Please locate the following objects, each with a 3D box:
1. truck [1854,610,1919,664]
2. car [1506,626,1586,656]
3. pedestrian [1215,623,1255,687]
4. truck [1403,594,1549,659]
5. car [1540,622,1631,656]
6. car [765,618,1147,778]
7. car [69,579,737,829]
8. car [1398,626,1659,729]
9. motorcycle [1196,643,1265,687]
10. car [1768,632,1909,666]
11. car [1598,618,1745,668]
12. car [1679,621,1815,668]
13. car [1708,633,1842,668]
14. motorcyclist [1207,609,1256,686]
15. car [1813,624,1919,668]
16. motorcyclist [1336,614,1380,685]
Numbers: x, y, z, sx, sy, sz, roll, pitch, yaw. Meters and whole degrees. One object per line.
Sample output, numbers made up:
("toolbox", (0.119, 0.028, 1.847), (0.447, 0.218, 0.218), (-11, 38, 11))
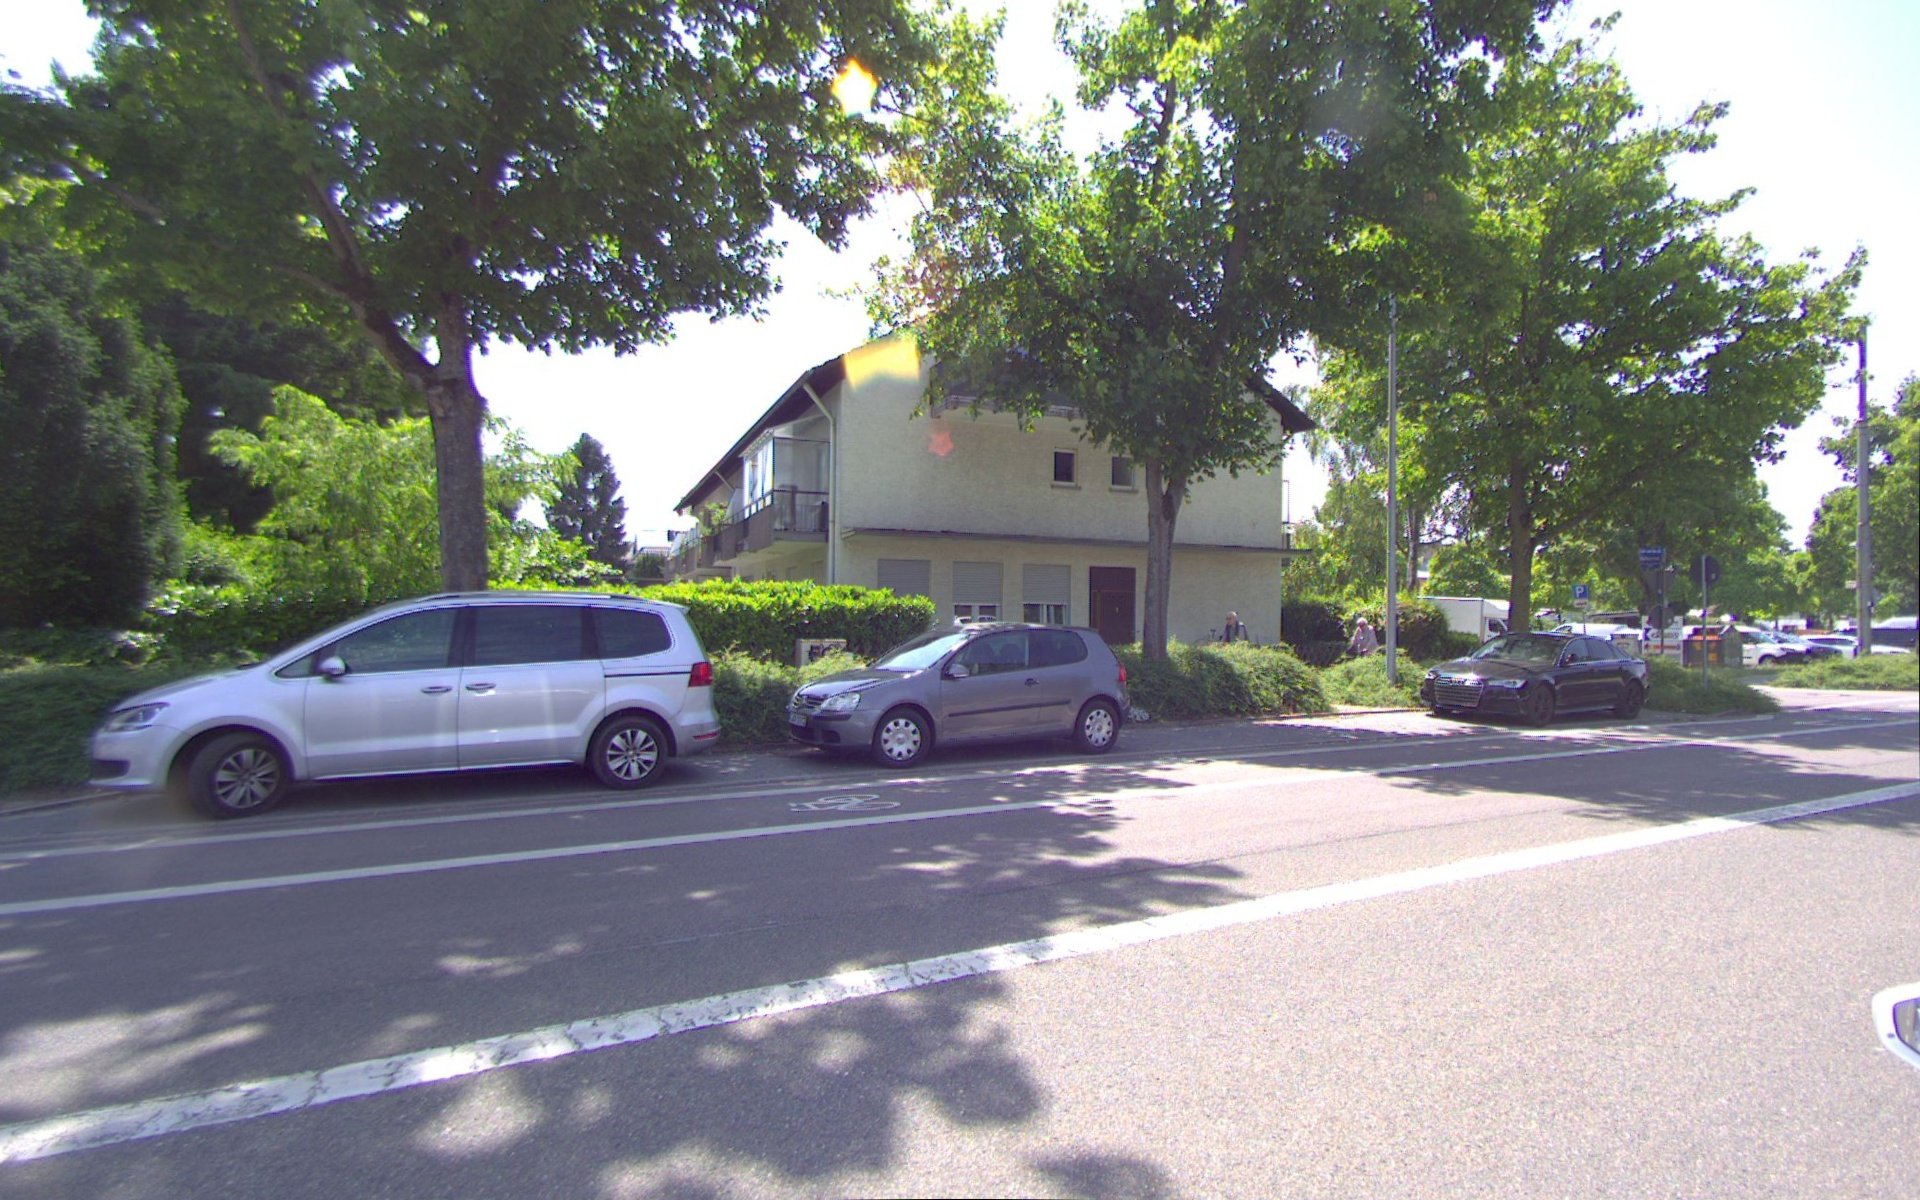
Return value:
("truck", (51.329, 1.958, 53.169), (2.402, 2.796, 5.556), (1, -1, -28))
("car", (34.170, 2.377, 58.647), (1.712, 1.597, 3.729), (1, -1, -30))
("pedestrian", (6.742, 1.329, 24.624), (0.599, 1.530, 0.792), (1, -1, -23))
("truck", (27.830, 1.363, 54.512), (2.126, 3.270, 6.942), (1, -1, -31))
("car", (36.714, 2.262, 59.038), (1.948, 1.844, 4.108), (2, -1, -30))
("car", (0.011, 0.999, 11.475), (4.080, 1.506, 1.668), (1, 0, -31))
("car", (-4.527, 0.752, 8.878), (4.630, 1.711, 1.962), (1, 0, -29))
("car", (9.779, 1.234, 17.176), (4.757, 1.476, 1.883), (1, 0, -33))
("motorcycle", (5.536, 1.309, 20.547), (1.354, 0.837, 0.523), (1, 2, -29))
("car", (42.117, 2.317, 48.288), (2.034, 1.508, 4.738), (1, -1, -30))
("car", (28.670, 1.680, 40.607), (2.039, 1.881, 4.421), (1, -1, -33))
("car", (33.092, 1.842, 42.363), (1.652, 1.860, 4.251), (1, -1, -27))
("car", (35.516, 2.166, 43.865), (2.059, 1.422, 4.171), (1, -2, -33))
("motorcyclist", (5.536, 0.964, 20.521), (0.716, 1.523, 0.584), (1, 2, -29))
("car", (44.680, 2.215, 49.086), (1.835, 2.021, 4.189), (1, -1, -30))
("motorcyclist", (8.899, 1.096, 22.451), (0.654, 1.523, 0.584), (1, 2, -29))
